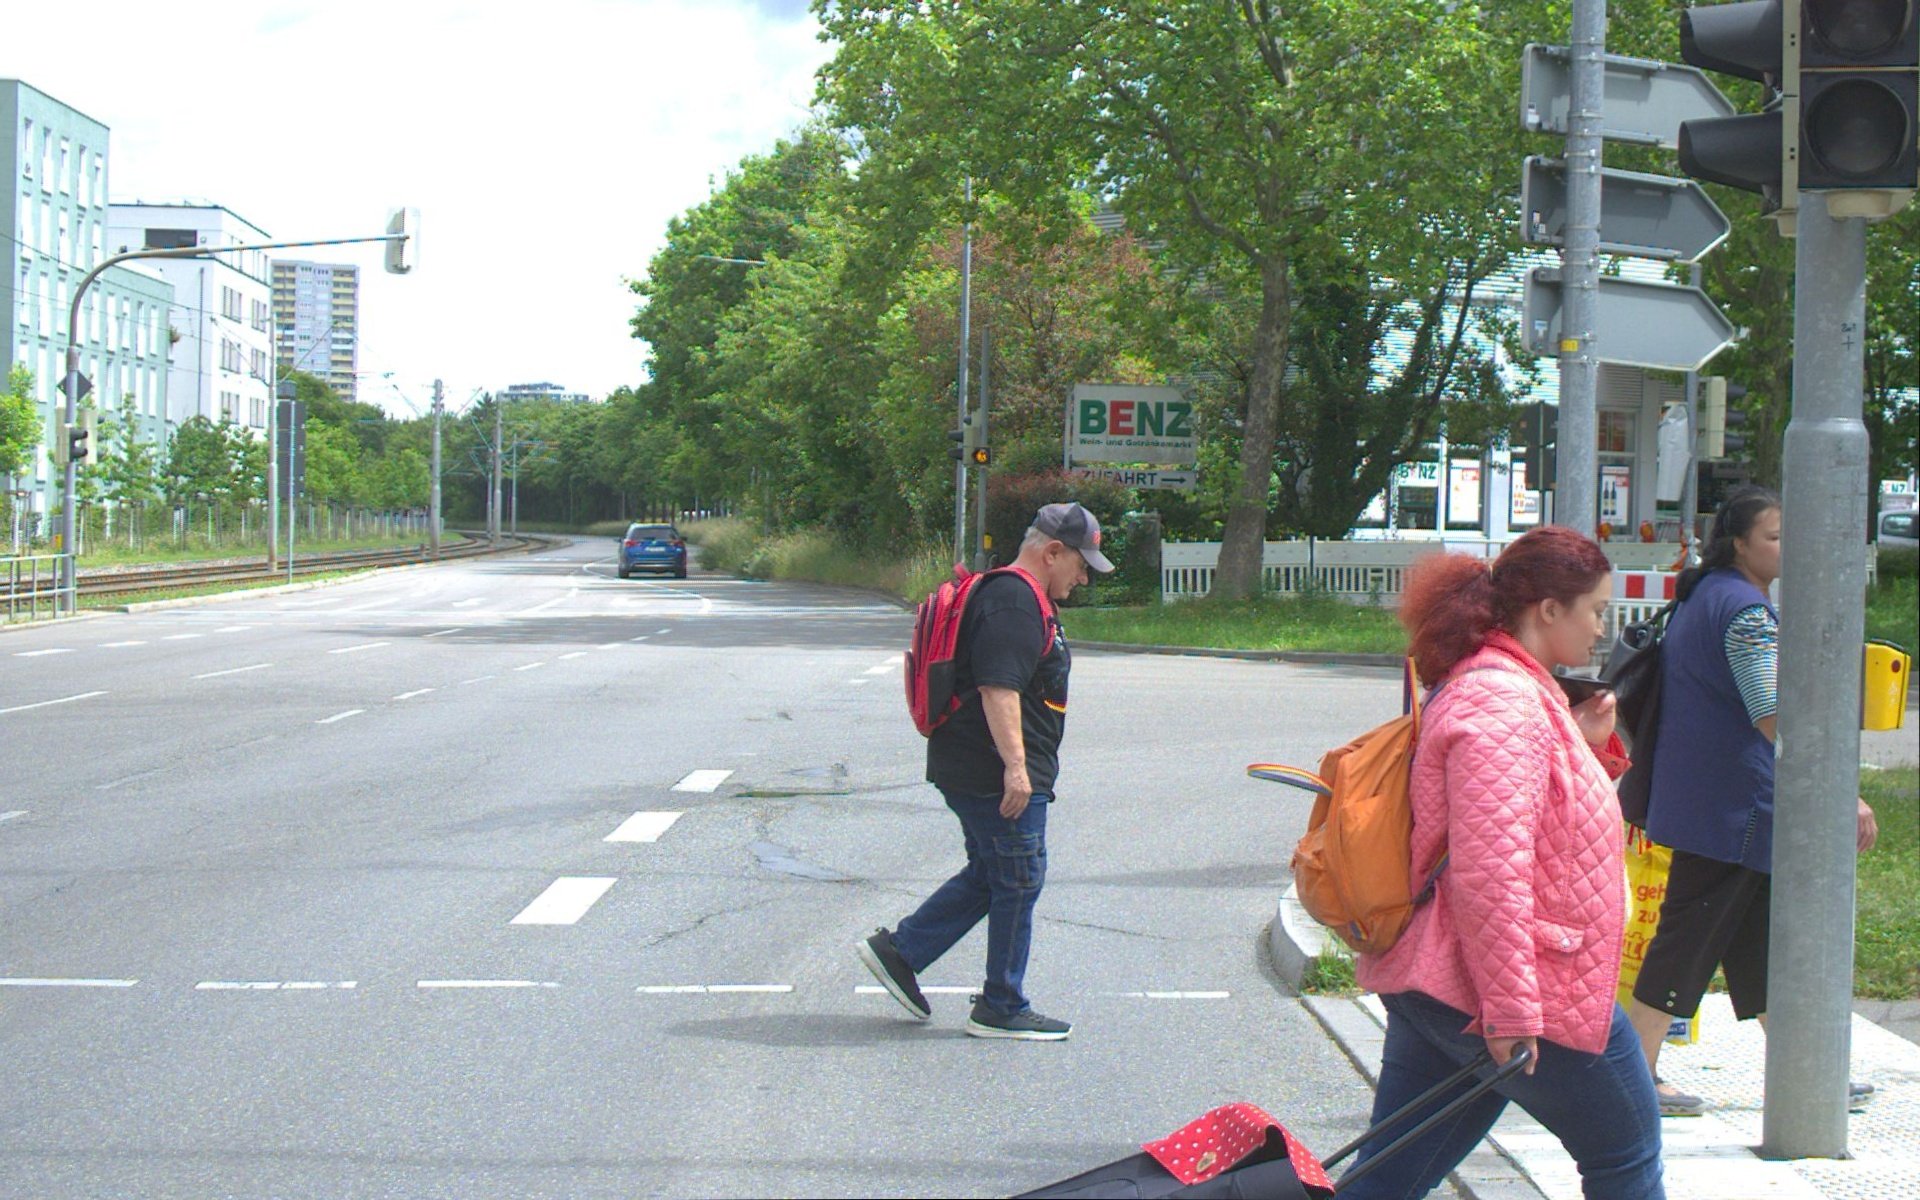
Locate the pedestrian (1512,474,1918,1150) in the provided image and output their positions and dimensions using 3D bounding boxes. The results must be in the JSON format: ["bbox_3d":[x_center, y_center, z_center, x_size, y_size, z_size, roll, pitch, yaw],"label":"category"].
[{"bbox_3d":[1.878,0.493,8.697,0.913,1.601,0.929,1,1,8],"label":"pedestrian"}]

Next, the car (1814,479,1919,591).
[{"bbox_3d":[17.745,-1.183,62.564,1.993,2.007,4.000,0,2,-32],"label":"car"}]

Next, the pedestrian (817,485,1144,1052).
[{"bbox_3d":[0.079,0.463,10.155,0.893,1.591,0.908,1,1,4],"label":"pedestrian"}]

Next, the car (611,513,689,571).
[{"bbox_3d":[-8.297,-1.569,91.694,1.982,1.481,4.492,0,1,-6],"label":"car"}]

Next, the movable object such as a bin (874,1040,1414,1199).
[{"bbox_3d":[0.268,1.091,5.470,0.795,0.659,0.778,1,1,0],"label":"movable object such as a bin"}]

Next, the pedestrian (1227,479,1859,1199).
[{"bbox_3d":[0.908,0.586,5.572,0.881,1.549,0.746,1,1,0],"label":"pedestrian"}]
